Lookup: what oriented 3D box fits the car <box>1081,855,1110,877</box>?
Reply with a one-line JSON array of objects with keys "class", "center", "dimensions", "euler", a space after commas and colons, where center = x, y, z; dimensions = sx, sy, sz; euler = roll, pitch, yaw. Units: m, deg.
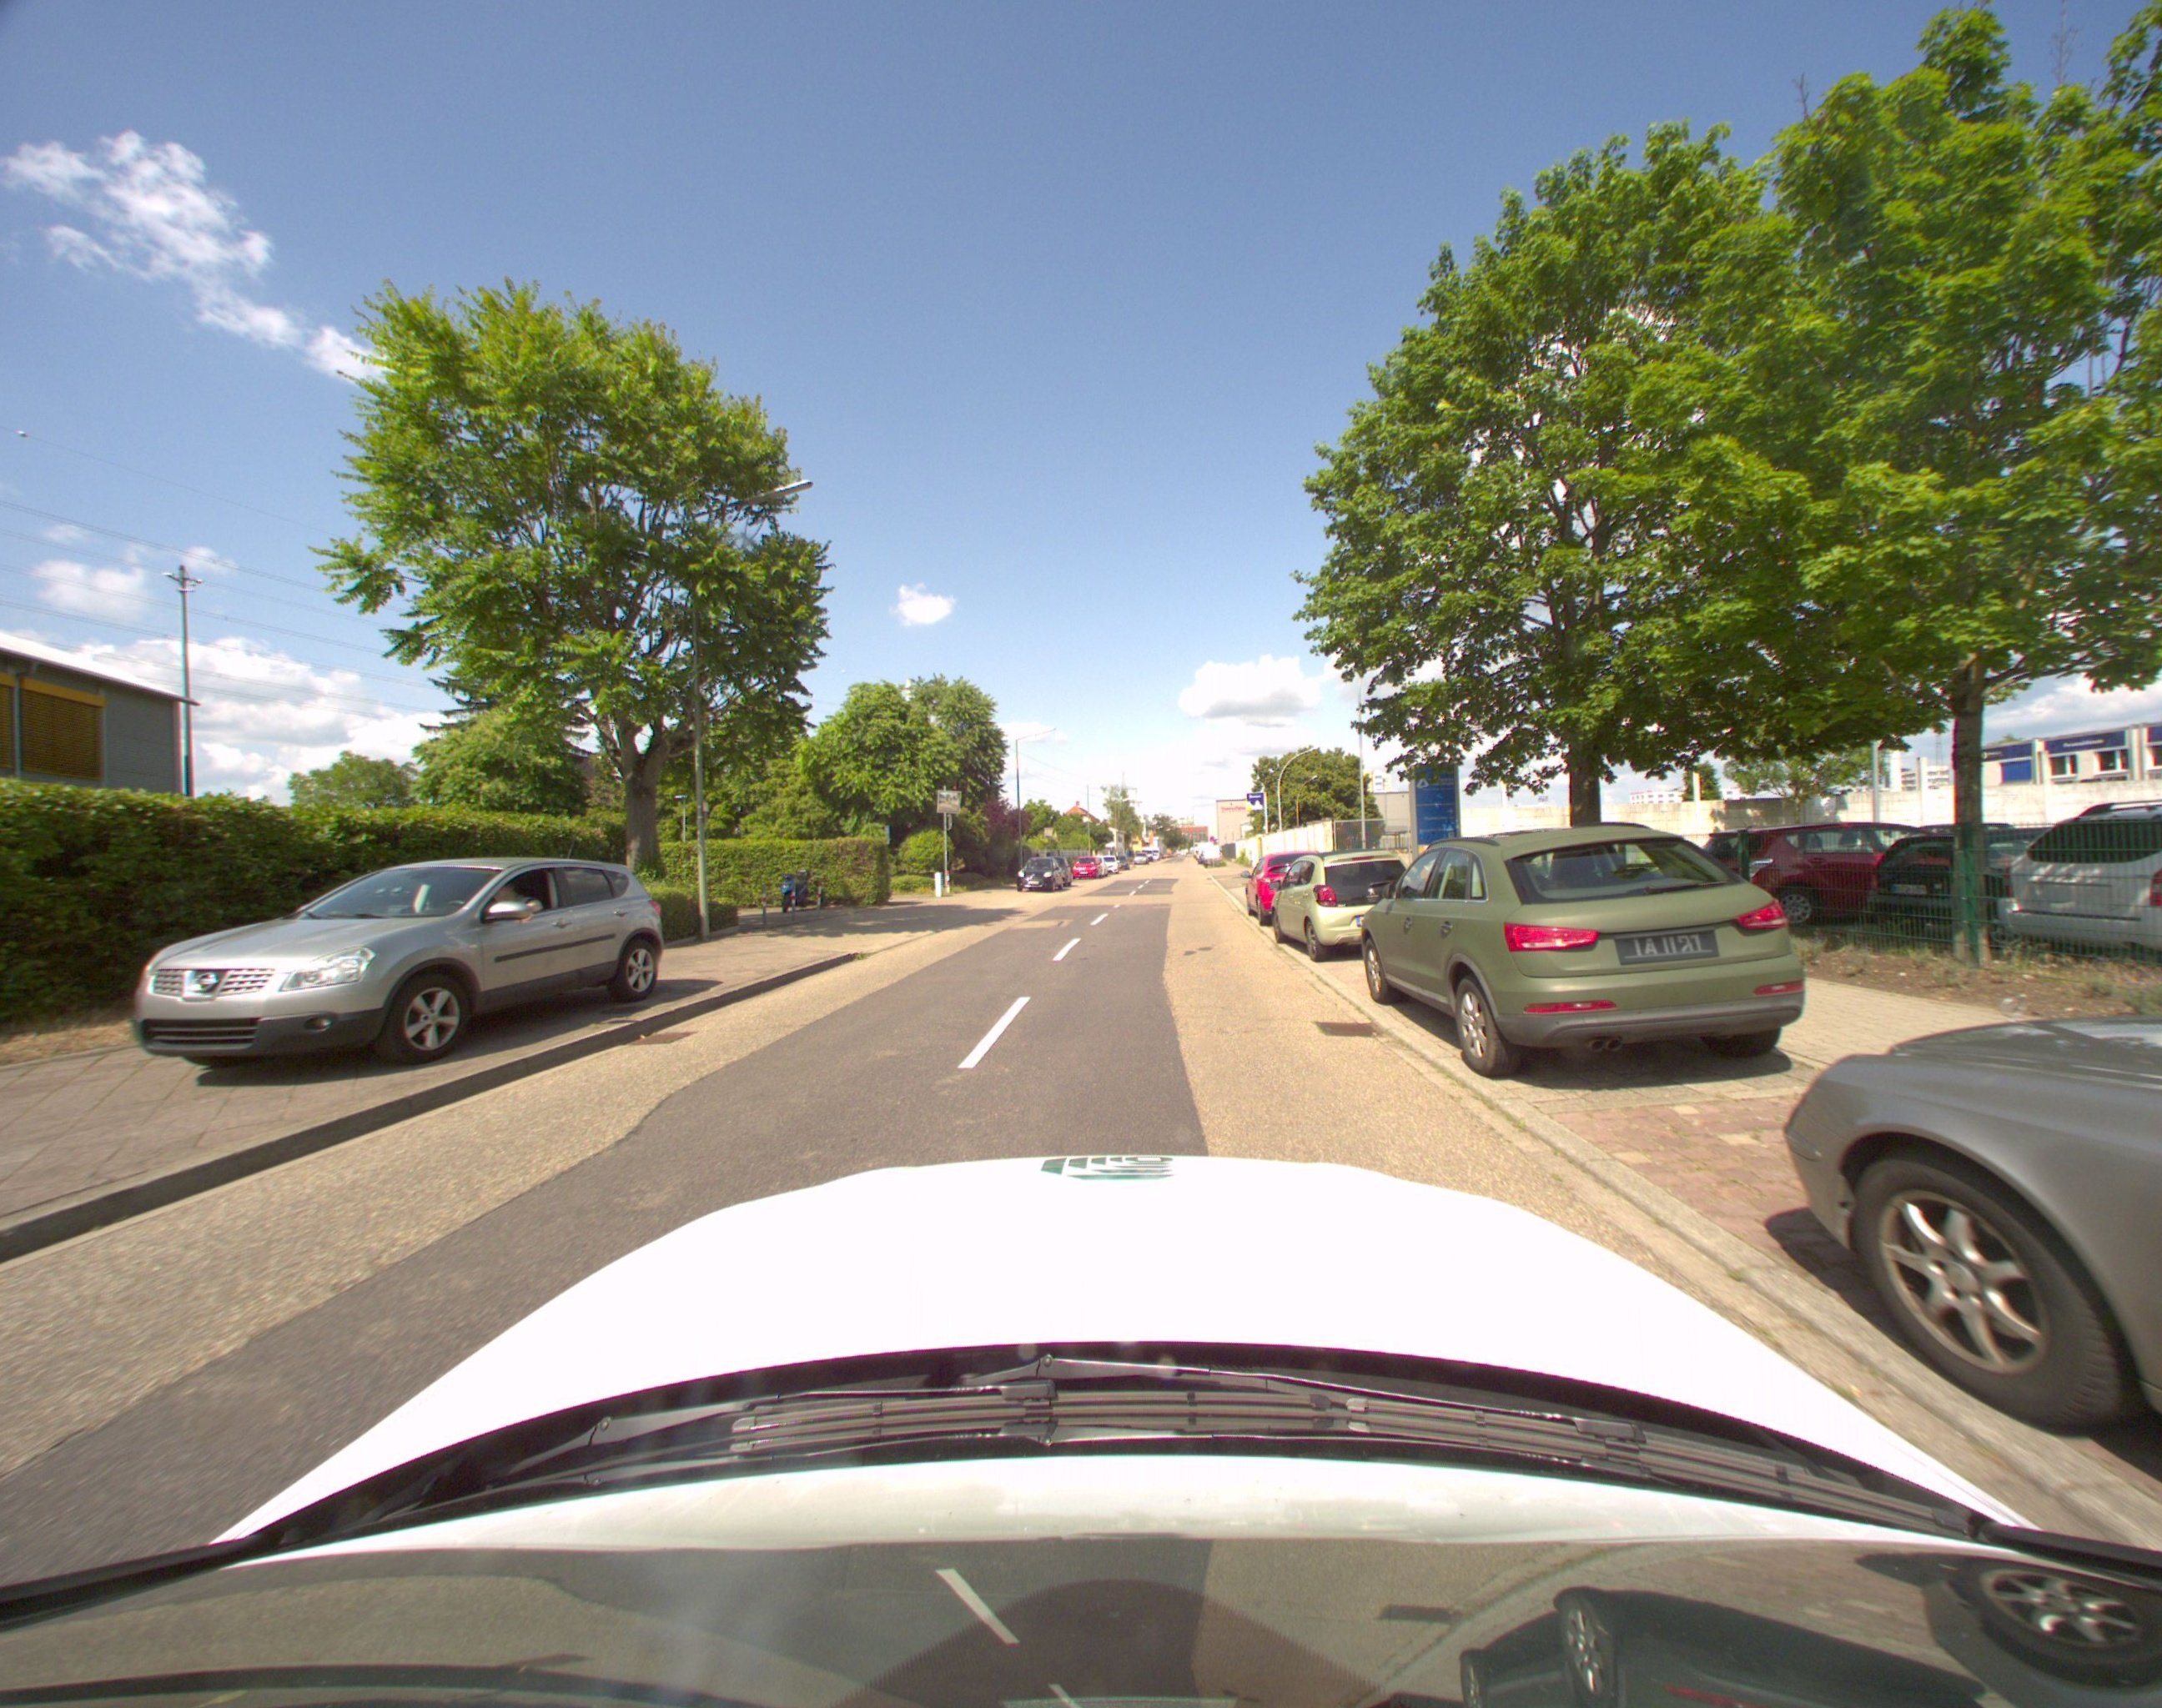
[{"class": "car", "center": [1.093, 0.824, 58.731], "dimensions": [1.636, 1.477, 4.036], "euler": [-2, -1, 7]}]

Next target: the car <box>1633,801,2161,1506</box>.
[{"class": "car", "center": [3.190, 0.596, 0.748], "dimensions": [1.868, 1.477, 5.169], "euler": [-5, -1, 1]}]

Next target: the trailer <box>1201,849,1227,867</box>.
[{"class": "trailer", "center": [12.269, 0.391, 75.120], "dimensions": [1.742, 1.417, 4.552], "euler": [-5, -1, 2]}]

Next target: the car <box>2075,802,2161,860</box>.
[{"class": "car", "center": [29.881, -0.656, 22.134], "dimensions": [1.720, 1.549, 4.019], "euler": [-2, -1, 19]}]

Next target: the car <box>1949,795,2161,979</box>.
[{"class": "car", "center": [11.589, 0.211, 7.982], "dimensions": [3.854, 1.637, 1.914], "euler": [-3, -1, 7]}]

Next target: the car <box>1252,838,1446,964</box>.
[{"class": "car", "center": [3.907, 0.630, 12.556], "dimensions": [1.693, 1.486, 3.808], "euler": [-6, -1, 1]}]

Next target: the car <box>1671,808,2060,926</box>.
[{"class": "car", "center": [12.376, 0.216, 13.146], "dimensions": [4.186, 1.593, 1.914], "euler": [-3, -1, 7]}]

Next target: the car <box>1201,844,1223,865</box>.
[{"class": "car", "center": [13.703, 0.076, 85.508], "dimensions": [1.983, 2.013, 5.661], "euler": [-3, 0, 7]}]

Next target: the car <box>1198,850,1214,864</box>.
[{"class": "car", "center": [14.981, 0.348, 97.550], "dimensions": [1.682, 1.461, 4.078], "euler": [-5, -1, 6]}]

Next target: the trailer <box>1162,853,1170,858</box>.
[{"class": "trailer", "center": [24.737, 0.443, 236.805], "dimensions": [1.982, 1.556, 4.262], "euler": [-2, 0, 8]}]

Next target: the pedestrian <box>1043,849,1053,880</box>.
[{"class": "pedestrian", "center": [-2.028, 0.631, 49.615], "dimensions": [0.448, 1.894, 0.679], "euler": [-2, -1, 7]}]

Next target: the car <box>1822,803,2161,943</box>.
[{"class": "car", "center": [12.625, 0.210, 10.689], "dimensions": [3.854, 1.593, 1.914], "euler": [-3, -1, 7]}]

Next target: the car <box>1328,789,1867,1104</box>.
[{"class": "car", "center": [3.566, 0.532, 6.850], "dimensions": [1.824, 1.608, 4.575], "euler": [-6, -1, 5]}]

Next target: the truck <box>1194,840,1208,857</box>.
[{"class": "truck", "center": [24.523, -1.081, 166.465], "dimensions": [2.445, 3.293, 6.833], "euler": [-7, -1, 8]}]

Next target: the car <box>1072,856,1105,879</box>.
[{"class": "car", "center": [0.509, 0.898, 53.994], "dimensions": [1.657, 1.467, 3.752], "euler": [-1, 0, 8]}]

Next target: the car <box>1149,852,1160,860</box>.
[{"class": "car", "center": [14.387, 0.405, 158.665], "dimensions": [1.785, 1.397, 4.513], "euler": [-1, 0, 9]}]

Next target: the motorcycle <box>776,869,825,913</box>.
[{"class": "motorcycle", "center": [-8.507, 1.110, 24.814], "dimensions": [0.529, 1.220, 2.089], "euler": [-2, 0, 6]}]

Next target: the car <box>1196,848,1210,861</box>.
[{"class": "car", "center": [18.398, 0.064, 122.735], "dimensions": [1.925, 1.693, 4.690], "euler": [-5, 0, 7]}]

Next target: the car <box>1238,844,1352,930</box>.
[{"class": "car", "center": [4.475, 0.627, 17.635], "dimensions": [1.744, 1.486, 4.233], "euler": [-6, -1, 7]}]

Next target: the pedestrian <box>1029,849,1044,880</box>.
[{"class": "pedestrian", "center": [-2.697, 0.627, 49.311], "dimensions": [0.704, 1.801, 0.918], "euler": [-2, -1, 7]}]

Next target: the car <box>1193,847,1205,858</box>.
[{"class": "car", "center": [21.667, -0.285, 149.135], "dimensions": [2.042, 1.903, 5.159], "euler": [-6, -1, 9]}]

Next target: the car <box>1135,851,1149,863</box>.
[{"class": "car", "center": [8.720, 0.396, 116.528], "dimensions": [1.781, 1.719, 4.761], "euler": [0, 0, 8]}]

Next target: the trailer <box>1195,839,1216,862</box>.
[{"class": "trailer", "center": [15.945, -0.409, 104.505], "dimensions": [2.193, 2.737, 6.234], "euler": [-5, -1, 7]}]

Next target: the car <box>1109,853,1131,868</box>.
[{"class": "car", "center": [3.820, 0.576, 79.242], "dimensions": [1.796, 1.418, 4.504], "euler": [0, 0, 6]}]

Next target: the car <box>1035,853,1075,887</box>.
[{"class": "car", "center": [-1.289, 0.805, 42.018], "dimensions": [1.642, 1.645, 3.278], "euler": [1, 0, 5]}]

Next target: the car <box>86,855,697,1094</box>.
[{"class": "car", "center": [-5.706, 0.829, 7.708], "dimensions": [1.749, 1.574, 4.482], "euler": [-1, 0, 4]}]

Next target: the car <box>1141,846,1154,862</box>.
[{"class": "car", "center": [11.427, 0.027, 139.090], "dimensions": [2.020, 2.557, 6.668], "euler": [0, 0, 6]}]

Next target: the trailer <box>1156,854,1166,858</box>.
[{"class": "trailer", "center": [21.324, 0.511, 215.998], "dimensions": [2.349, 0.893, 5.581], "euler": [0, 0, 8]}]

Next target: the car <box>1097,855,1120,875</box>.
[{"class": "car", "center": [2.312, 0.865, 67.736], "dimensions": [1.613, 1.522, 4.181], "euler": [-2, 0, 5]}]

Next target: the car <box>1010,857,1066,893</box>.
[{"class": "car", "center": [-1.881, 0.915, 37.164], "dimensions": [1.835, 1.508, 4.008], "euler": [1, 0, 7]}]
